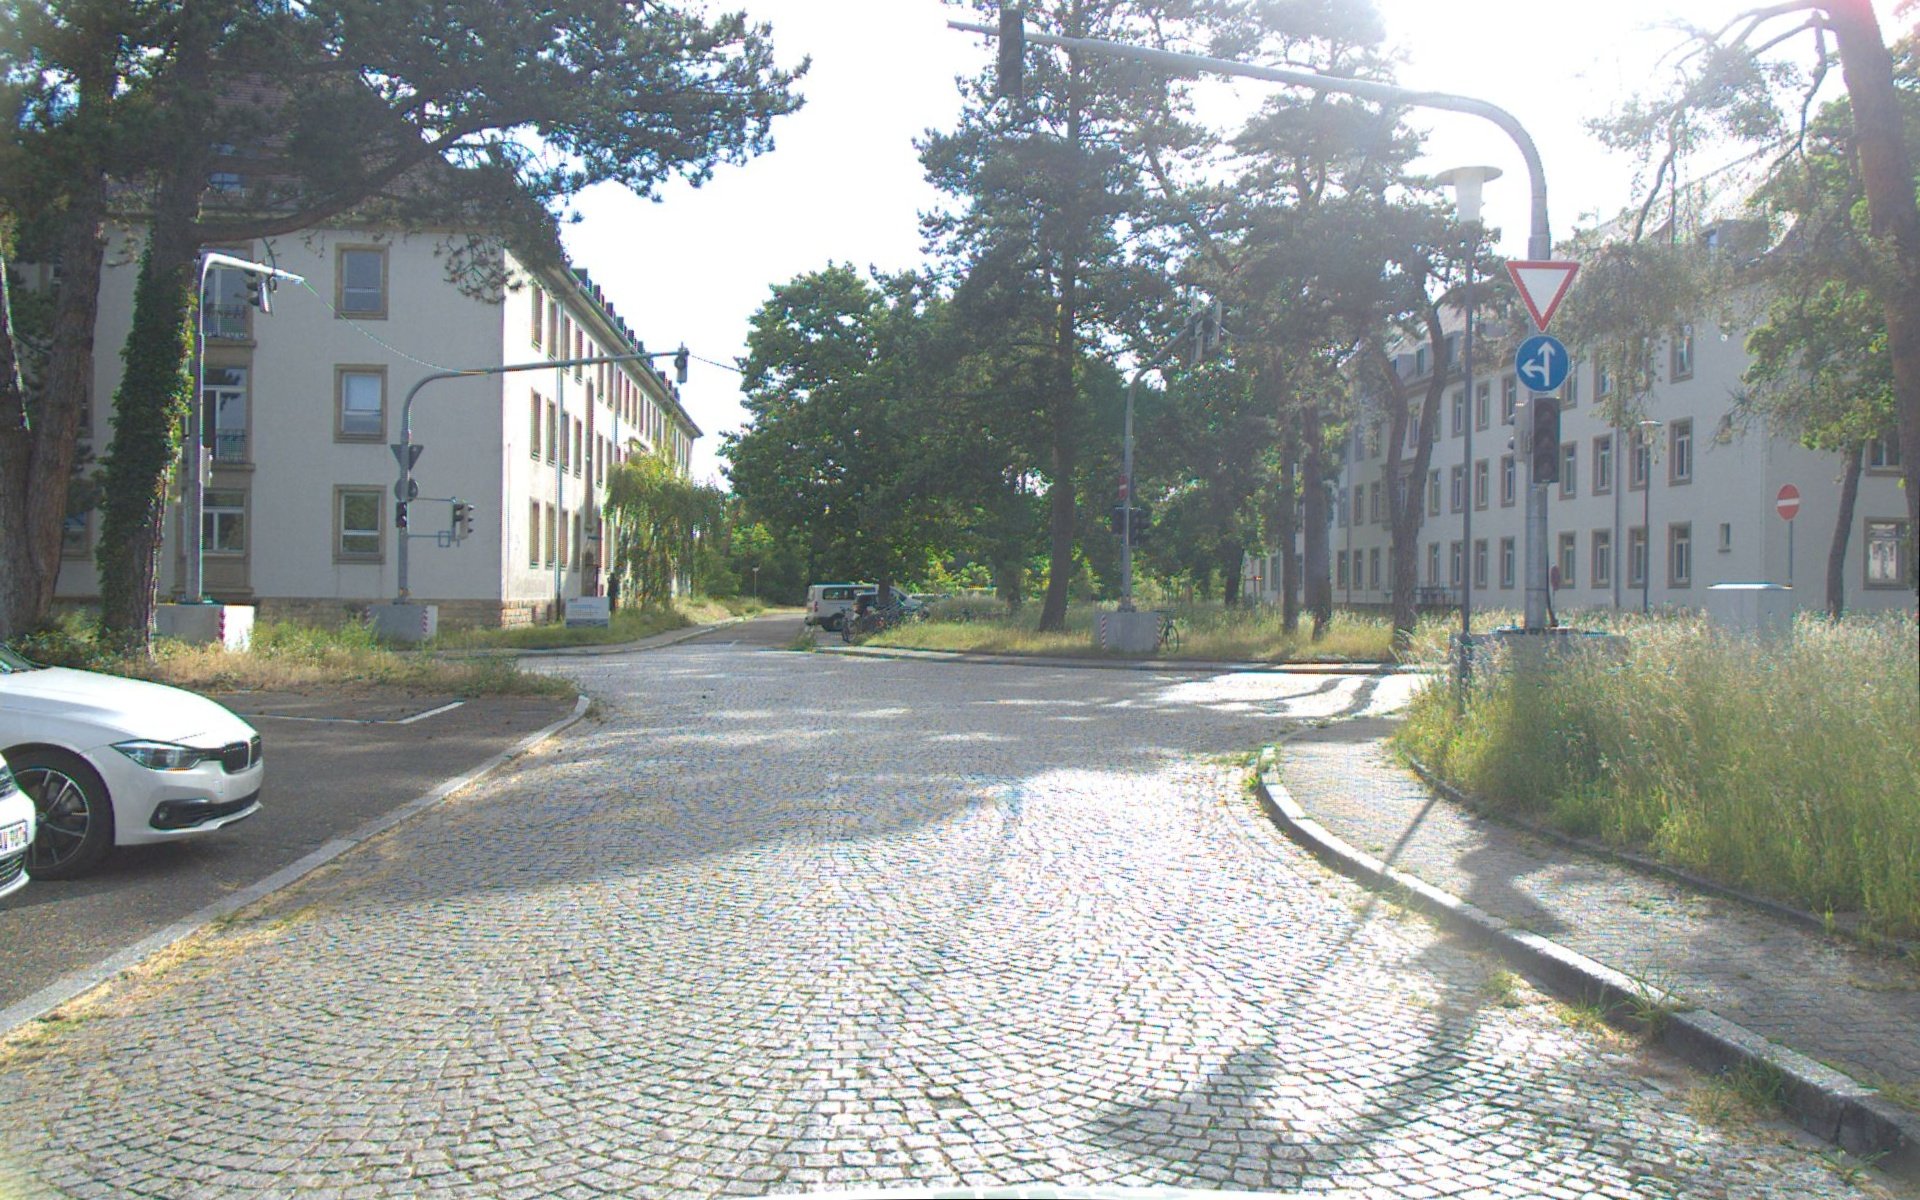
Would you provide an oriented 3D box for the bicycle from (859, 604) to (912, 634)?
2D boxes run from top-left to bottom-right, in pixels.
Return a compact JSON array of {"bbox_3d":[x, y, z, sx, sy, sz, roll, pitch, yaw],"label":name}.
[{"bbox_3d":[-2.532,0.645,56.113,1.758,1.016,0.643,0,1,-6],"label":"bicycle"}]

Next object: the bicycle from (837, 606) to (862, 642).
[{"bbox_3d":[-3.334,0.706,49.912,0.714,1.016,1.797,0,1,-5],"label":"bicycle"}]

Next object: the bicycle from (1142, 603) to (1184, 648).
[{"bbox_3d":[4.903,0.604,40.036,0.552,1.016,1.749,0,1,-9],"label":"bicycle"}]

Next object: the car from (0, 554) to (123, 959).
[{"bbox_3d":[-5.838,0.507,6.525,4.046,1.627,1.855,4,-1,-10],"label":"car"}]

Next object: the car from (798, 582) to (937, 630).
[{"bbox_3d":[-3.896,0.261,69.445,5.417,1.949,2.242,1,0,-19],"label":"car"}]

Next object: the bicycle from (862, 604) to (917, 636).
[{"bbox_3d":[-2.289,0.637,53.606,1.758,1.016,0.643,0,1,-6],"label":"bicycle"}]

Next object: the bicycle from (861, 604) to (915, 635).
[{"bbox_3d":[-2.374,0.642,54.622,1.758,1.016,0.643,0,1,-6],"label":"bicycle"}]

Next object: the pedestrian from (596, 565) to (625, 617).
[{"bbox_3d":[-13.735,-0.360,64.970,0.966,1.998,0.931,1,-1,-6],"label":"pedestrian"}]

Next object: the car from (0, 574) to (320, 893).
[{"bbox_3d":[-6.137,0.584,9.048,4.501,1.480,1.900,4,1,-7],"label":"car"}]

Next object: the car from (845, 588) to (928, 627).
[{"bbox_3d":[-2.949,0.297,65.954,2.985,1.491,1.711,1,-1,-18],"label":"car"}]
